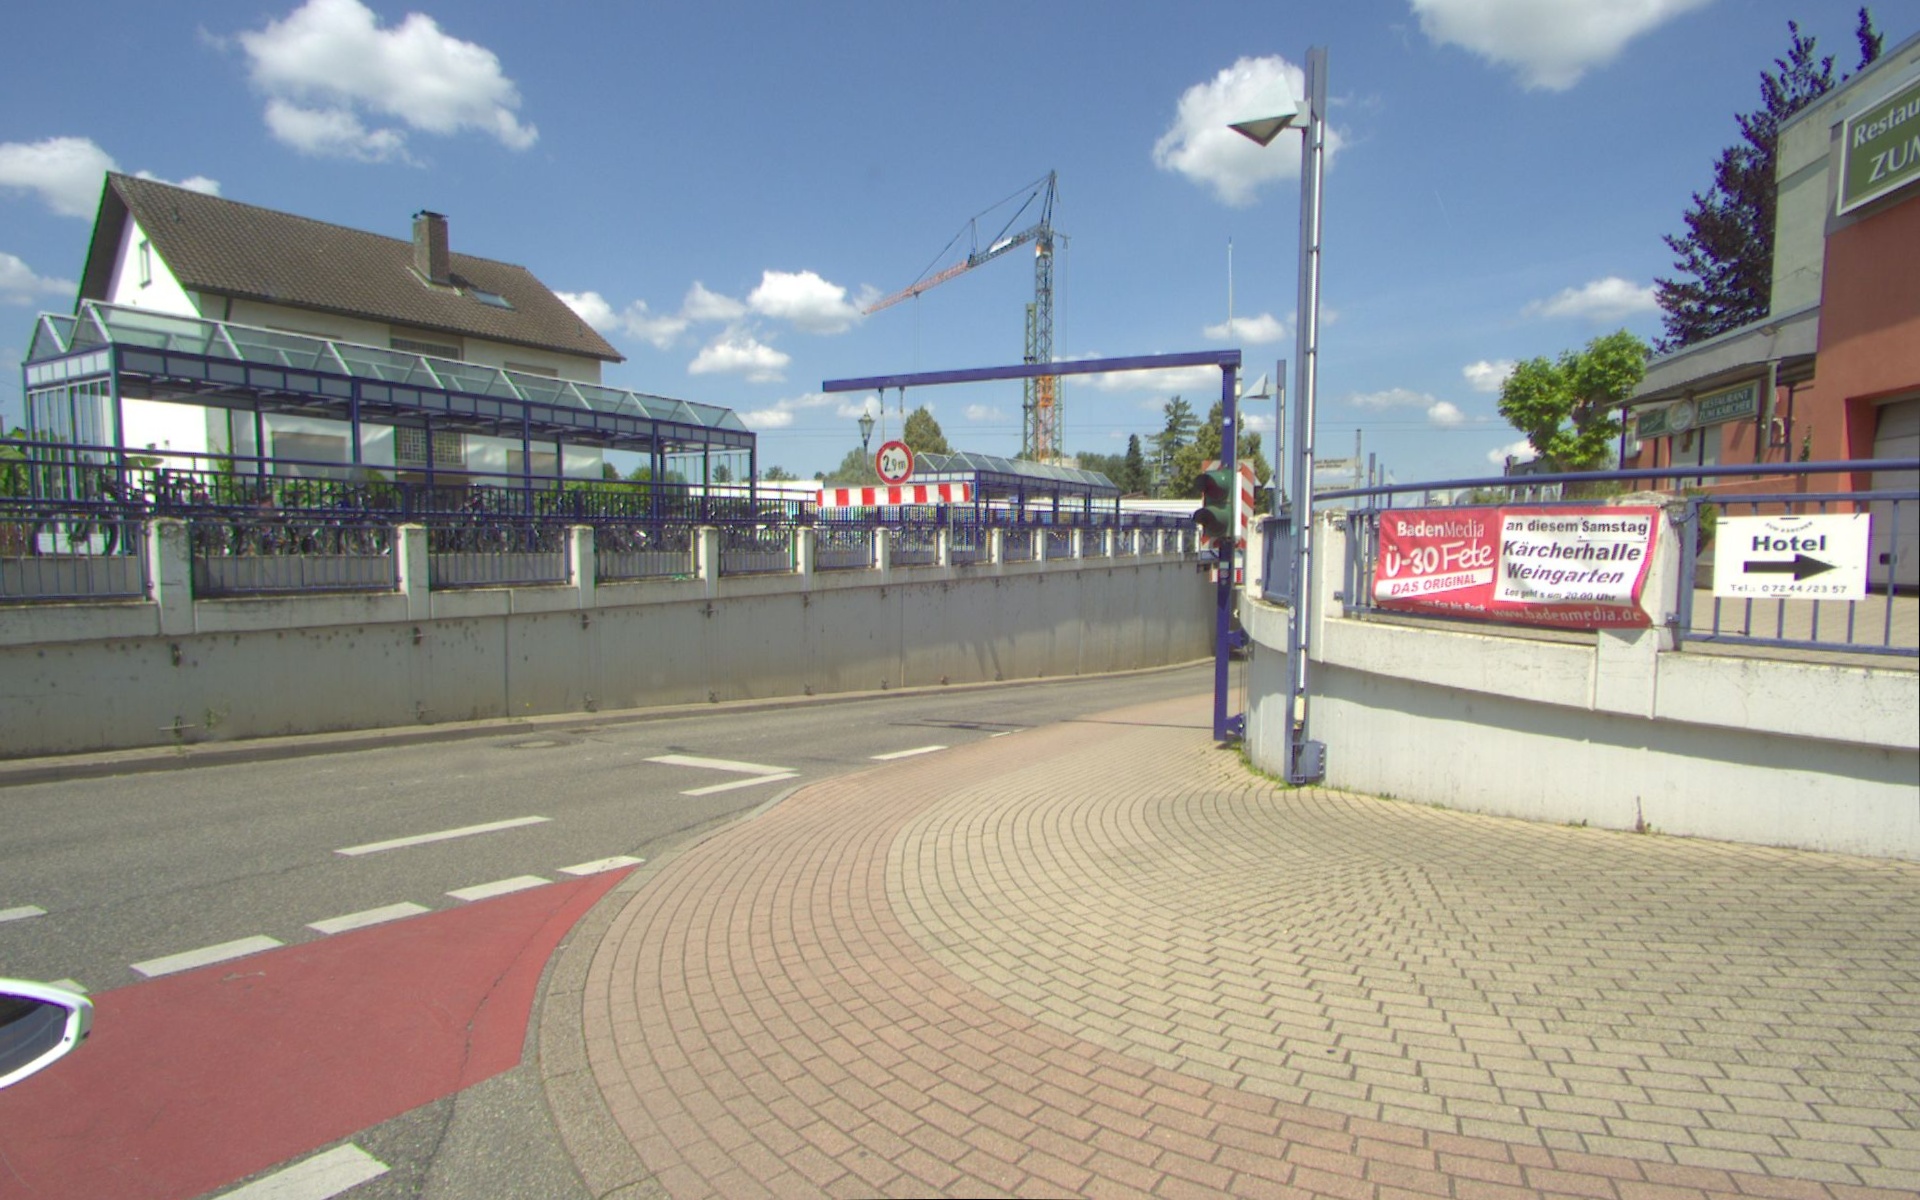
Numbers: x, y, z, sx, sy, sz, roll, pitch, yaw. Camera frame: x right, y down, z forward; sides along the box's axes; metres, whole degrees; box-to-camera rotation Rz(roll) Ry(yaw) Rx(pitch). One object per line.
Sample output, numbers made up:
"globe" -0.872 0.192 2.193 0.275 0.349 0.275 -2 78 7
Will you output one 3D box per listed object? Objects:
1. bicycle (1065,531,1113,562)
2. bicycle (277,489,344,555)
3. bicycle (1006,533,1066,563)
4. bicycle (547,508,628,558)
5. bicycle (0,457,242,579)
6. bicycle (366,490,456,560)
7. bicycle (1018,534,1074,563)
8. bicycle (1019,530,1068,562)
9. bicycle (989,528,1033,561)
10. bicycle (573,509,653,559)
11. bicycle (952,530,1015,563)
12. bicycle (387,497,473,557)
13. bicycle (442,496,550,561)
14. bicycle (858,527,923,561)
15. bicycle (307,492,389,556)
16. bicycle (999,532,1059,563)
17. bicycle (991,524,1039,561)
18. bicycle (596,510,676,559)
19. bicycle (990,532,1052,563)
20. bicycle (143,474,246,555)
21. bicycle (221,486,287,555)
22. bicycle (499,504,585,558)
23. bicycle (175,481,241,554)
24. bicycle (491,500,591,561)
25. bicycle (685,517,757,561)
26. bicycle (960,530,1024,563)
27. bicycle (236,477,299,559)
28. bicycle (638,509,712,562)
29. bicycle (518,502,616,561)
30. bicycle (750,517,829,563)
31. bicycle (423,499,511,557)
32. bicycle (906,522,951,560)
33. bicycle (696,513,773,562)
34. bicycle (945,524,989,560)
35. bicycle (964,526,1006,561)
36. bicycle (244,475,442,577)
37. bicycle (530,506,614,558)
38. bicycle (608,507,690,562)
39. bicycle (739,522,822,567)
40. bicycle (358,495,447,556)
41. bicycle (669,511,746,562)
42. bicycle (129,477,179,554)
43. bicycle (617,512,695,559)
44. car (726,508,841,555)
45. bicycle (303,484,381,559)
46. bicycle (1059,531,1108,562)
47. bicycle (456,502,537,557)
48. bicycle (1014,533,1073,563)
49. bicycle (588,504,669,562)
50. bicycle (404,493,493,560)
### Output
"bicycle" 4.982 -2.062 38.713 1.795 1.174 0.509 2 3 30
"bicycle" -10.460 -1.236 16.106 1.942 1.009 0.371 3 4 41
"bicycle" 2.584 -1.773 34.121 1.994 1.009 0.509 2 3 29
"bicycle" -7.735 -1.385 20.761 1.936 1.009 0.517 3 3 32
"bicycle" -8.620 -0.794 10.239 0.328 1.141 2.110 3 3 30
"bicycle" -8.507 -1.143 15.471 2.253 1.009 0.433 3 4 40
"bicycle" 3.013 -1.807 35.111 1.893 1.009 0.509 2 3 29
"bicycle" 3.203 -2.081 38.459 1.795 1.174 0.509 2 3 30
"bicycle" 1.843 -2.021 36.465 1.576 1.174 0.384 2 3 30
"bicycle" -7.378 -1.400 21.258 1.936 1.009 0.517 3 3 32
"bicycle" 0.724 -1.683 31.225 1.994 1.009 0.435 2 3 29
"bicycle" -9.418 -1.288 17.767 1.936 1.009 0.413 3 3 32
"bicycle" -7.688 -1.174 16.544 2.249 1.009 0.531 3 3 34
"bicycle" -2.114 -1.689 30.242 1.994 1.009 0.509 2 3 29
"bicycle" -10.242 -1.258 16.727 1.938 1.009 0.424 3 4 35
"bicycle" 2.310 -1.758 33.660 1.994 1.009 0.509 2 3 29
"bicycle" 1.775 -1.848 32.316 1.581 1.174 0.426 3 4 40
"bicycle" -7.043 -1.415 21.742 1.936 1.009 0.517 3 3 32
"bicycle" 2.017 -1.741 33.142 1.994 1.009 0.509 2 3 29
"bicycle" -10.043 -1.104 13.120 2.044 1.009 0.331 2 3 31
"bicycle" -11.014 -1.224 15.600 1.942 1.009 0.371 3 4 41
"bicycle" -8.138 -1.338 19.482 1.936 1.009 0.517 3 3 32
"bicycle" -11.094 -1.190 14.747 1.942 1.009 0.371 3 4 41
"bicycle" -7.332 -1.207 17.474 2.157 1.009 0.531 3 3 34
"bicycle" -5.667 -1.440 23.707 2.012 1.009 0.541 3 4 38
"bicycle" 1.005 -1.701 31.775 1.994 1.009 0.509 2 3 29
"bicycle" -9.319 -1.072 13.447 0.432 1.009 2.082 -2 4 -42
"bicycle" -5.762 -1.294 20.174 2.017 1.009 0.512 3 4 45
"bicycle" -7.154 -1.234 18.180 2.157 1.009 0.531 3 3 34
"bicycle" -3.967 -1.388 23.157 2.011 1.009 0.542 3 3 35
"bicycle" -9.065 -1.308 18.390 1.936 1.009 0.517 3 3 32
"bicycle" -1.003 -1.885 32.088 1.581 1.174 0.383 3 4 40
"bicycle" -4.841 -1.331 21.429 2.015 1.009 0.541 3 4 41
"bicycle" 0.216 -1.924 33.511 1.581 1.174 0.383 3 4 40
"bicycle" 0.864 -1.986 35.254 1.581 1.174 0.383 3 4 40
"bicycle" -7.452 -0.857 12.223 0.386 1.141 2.110 3 3 30
"bicycle" -7.815 -1.361 20.146 1.936 1.009 0.517 3 3 32
"bicycle" -6.101 -1.274 19.559 2.013 1.009 0.513 3 4 39
"bicycle" -4.167 -1.292 23.178 2.130 1.009 0.435 2 3 31
"bicycle" -9.681 -1.276 17.370 1.936 1.009 0.472 3 3 32
"bicycle" -5.239 -1.308 20.713 2.015 1.009 0.513 3 4 41
"bicycle" -11.352 -1.166 14.088 0.452 1.009 1.870 -2 4 -41
"bicycle" -6.754 -1.429 22.210 1.936 1.009 0.517 3 3 32
"car" -6.728 -2.592 38.205 3.936 1.701 1.991 2 3 28
"bicycle" -8.908 -1.105 14.401 2.078 1.009 0.433 3 4 44
"bicycle" 4.721 -2.047 38.235 1.795 1.174 0.509 2 3 30
"bicycle" -8.814 -1.331 19.027 1.775 1.009 0.517 3 3 32
"bicycle" 2.871 -1.784 34.496 1.994 1.009 0.509 2 3 29
"bicycle" -6.227 -1.242 18.739 0.575 1.009 2.165 -2 4 -44
"bicycle" -8.174 -1.157 15.948 2.253 1.009 0.433 3 4 40
